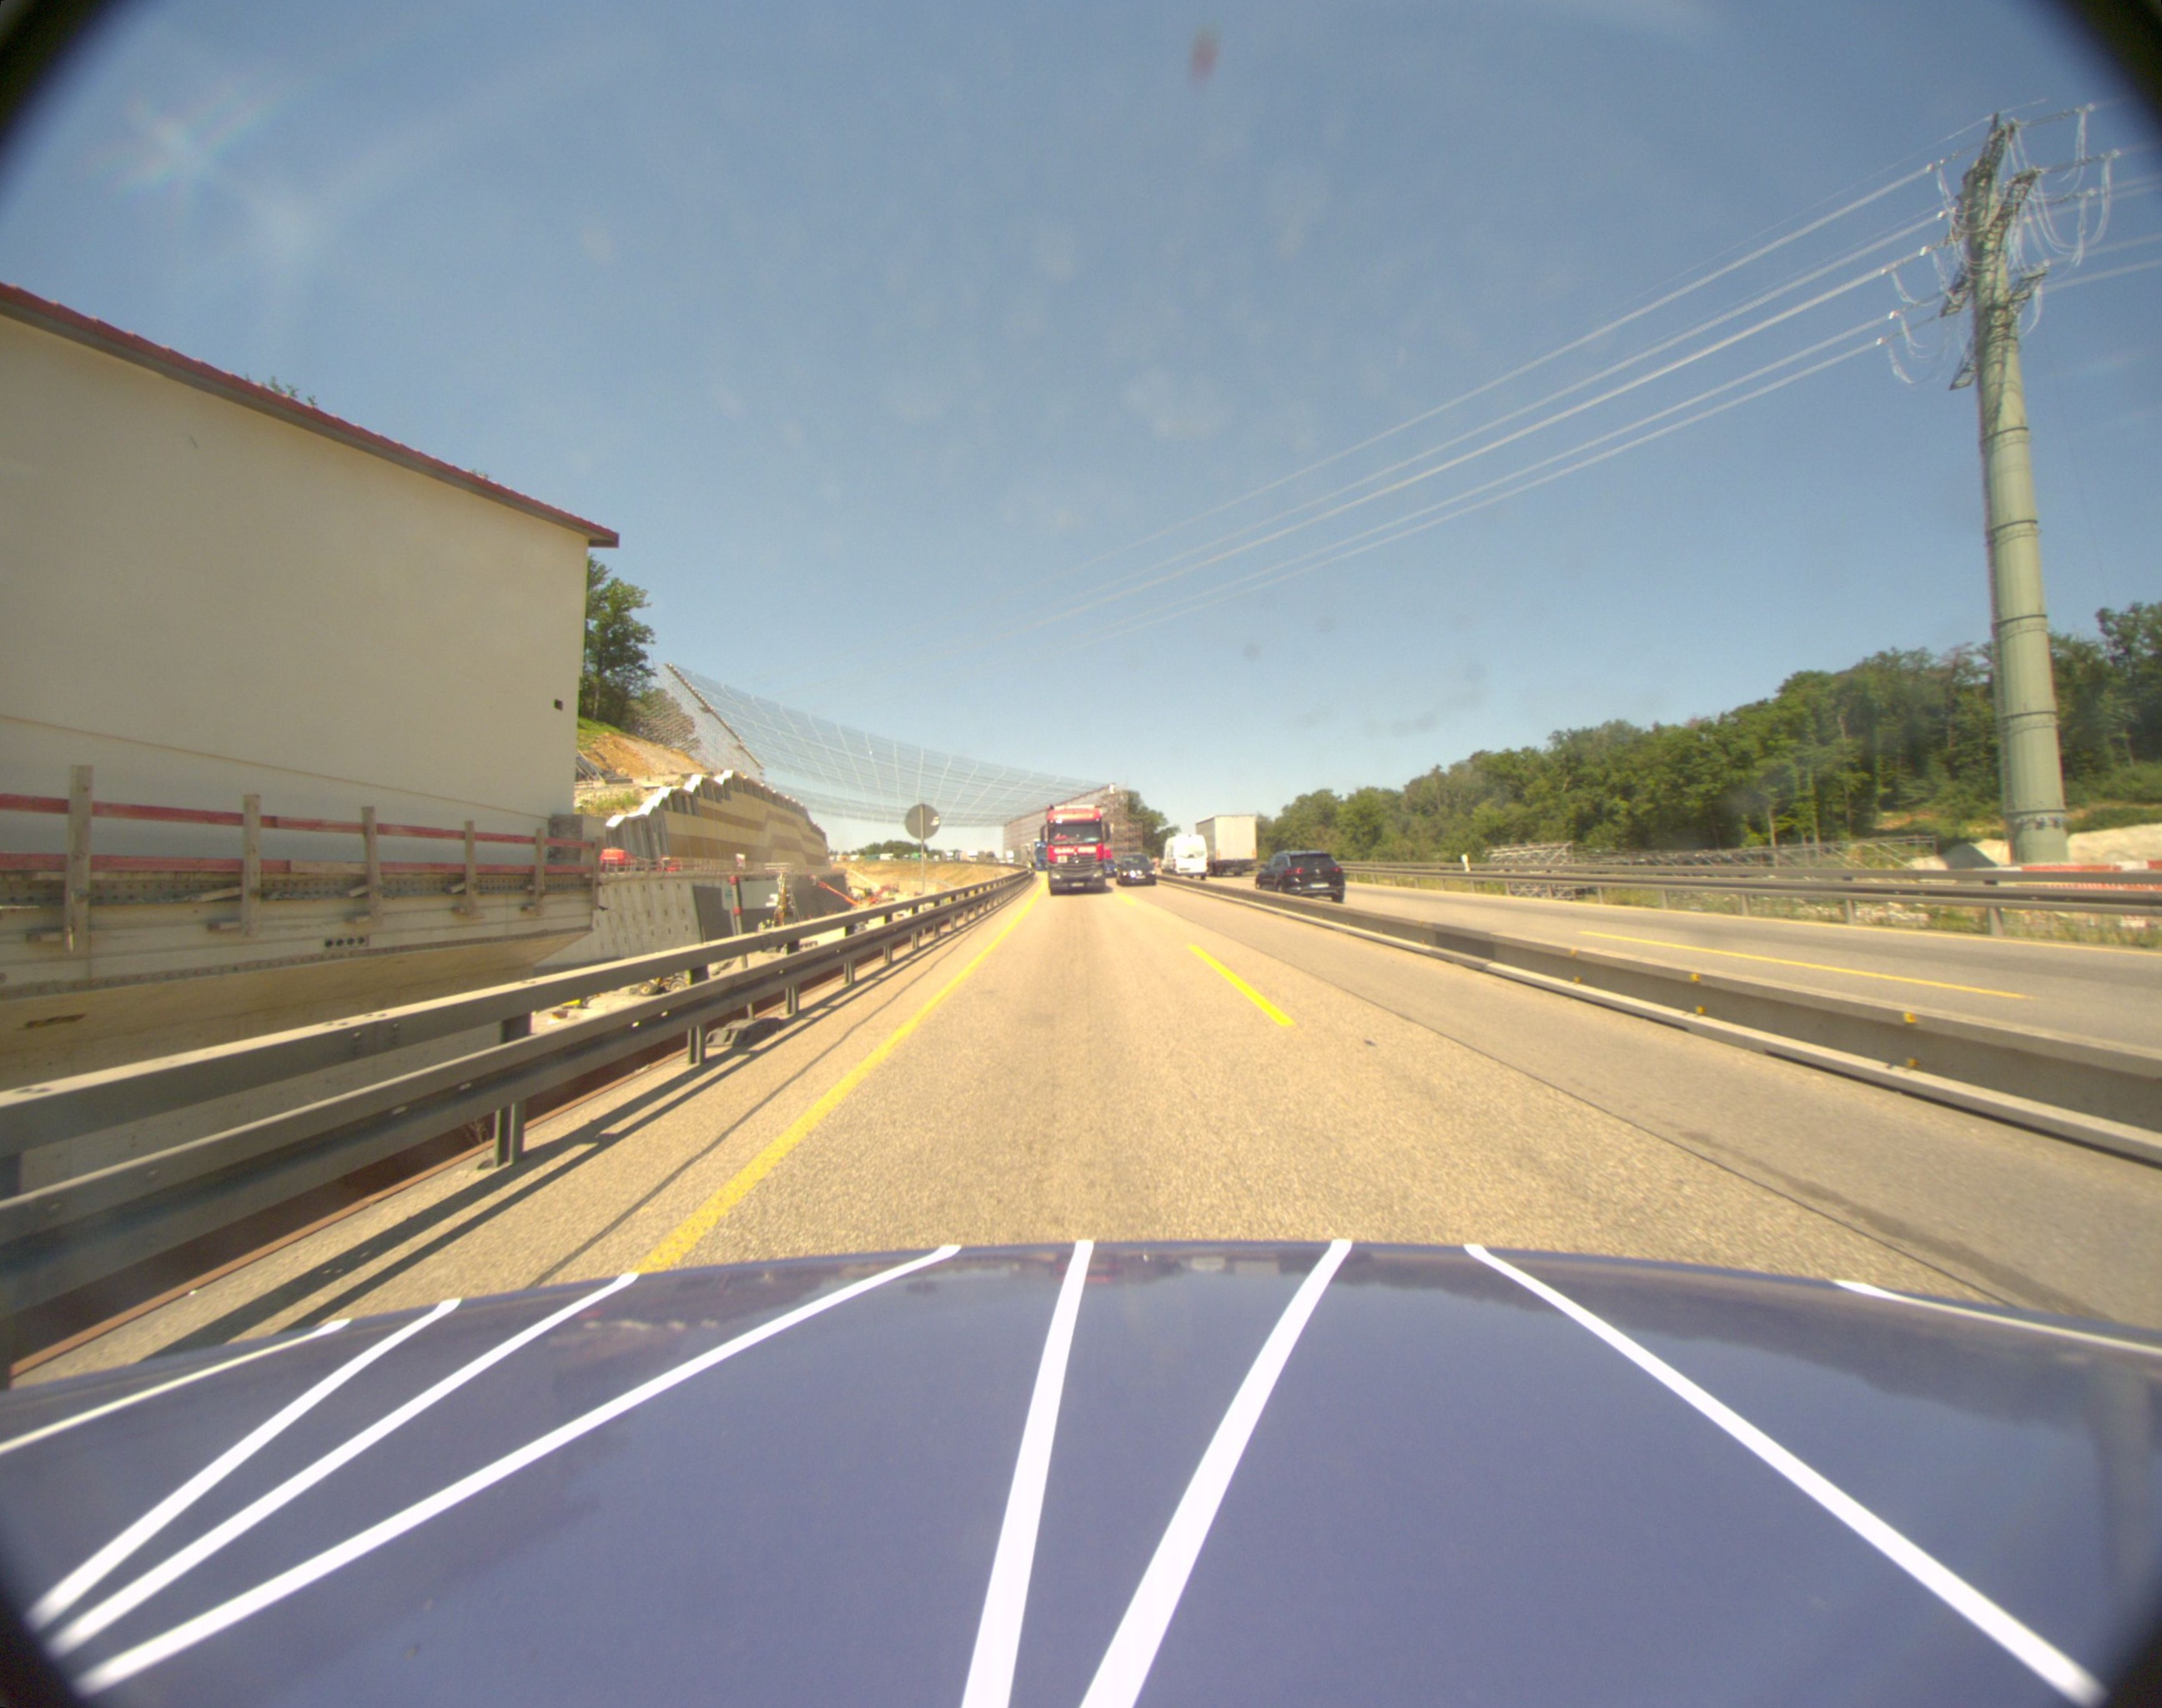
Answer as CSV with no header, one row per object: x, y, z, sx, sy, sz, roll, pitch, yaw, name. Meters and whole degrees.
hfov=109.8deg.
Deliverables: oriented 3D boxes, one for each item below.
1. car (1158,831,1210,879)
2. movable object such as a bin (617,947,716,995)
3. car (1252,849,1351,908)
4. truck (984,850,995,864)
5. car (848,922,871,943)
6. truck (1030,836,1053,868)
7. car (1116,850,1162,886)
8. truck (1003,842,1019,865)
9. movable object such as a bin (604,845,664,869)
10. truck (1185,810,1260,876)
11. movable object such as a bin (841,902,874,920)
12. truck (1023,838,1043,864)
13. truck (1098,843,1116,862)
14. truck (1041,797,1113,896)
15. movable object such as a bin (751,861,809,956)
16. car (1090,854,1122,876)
6.133,0.004,46.147,1.975,2.664,6.659,-2,1,-2,car
-26.530,7.498,48.805,5.119,2.577,2.060,-3,0,1,movable object such as a bin
6.497,0.662,22.851,1.734,1.542,4.035,-3,0,0,car
-27.031,0.887,224.074,3.043,4.033,8.669,-3,1,-6,truck
-27.434,9.659,94.080,2.000,2.002,3.997,-3,1,-7,car
-5.397,-0.340,102.447,2.672,3.986,10.424,-3,1,-5,truck
3.031,0.725,40.572,1.861,1.695,5.303,-2,-1,-1,car
-15.486,-0.053,167.312,3.043,4.778,8.936,-3,1,-6,truck
-39.113,0.217,66.706,2.081,2.002,5.353,-3,1,-1,movable object such as a bin
9.511,-0.770,52.428,2.808,3.977,10.549,-3,1,-2,truck
-35.815,9.147,121.696,5.485,2.621,2.224,-2,1,37,movable object such as a bin
-8.377,-0.472,131.702,2.911,4.207,9.236,-3,1,-5,truck
3.987,-0.253,116.512,2.210,2.847,6.497,-3,1,-2,truck
-0.253,-0.372,36.749,2.798,3.986,10.427,-3,1,-1,truck
-24.916,4.326,63.221,2.935,7.311,6.233,-3,1,-10,movable object such as a bin
1.864,0.849,58.015,1.896,1.546,4.784,-2,-1,-4,car
